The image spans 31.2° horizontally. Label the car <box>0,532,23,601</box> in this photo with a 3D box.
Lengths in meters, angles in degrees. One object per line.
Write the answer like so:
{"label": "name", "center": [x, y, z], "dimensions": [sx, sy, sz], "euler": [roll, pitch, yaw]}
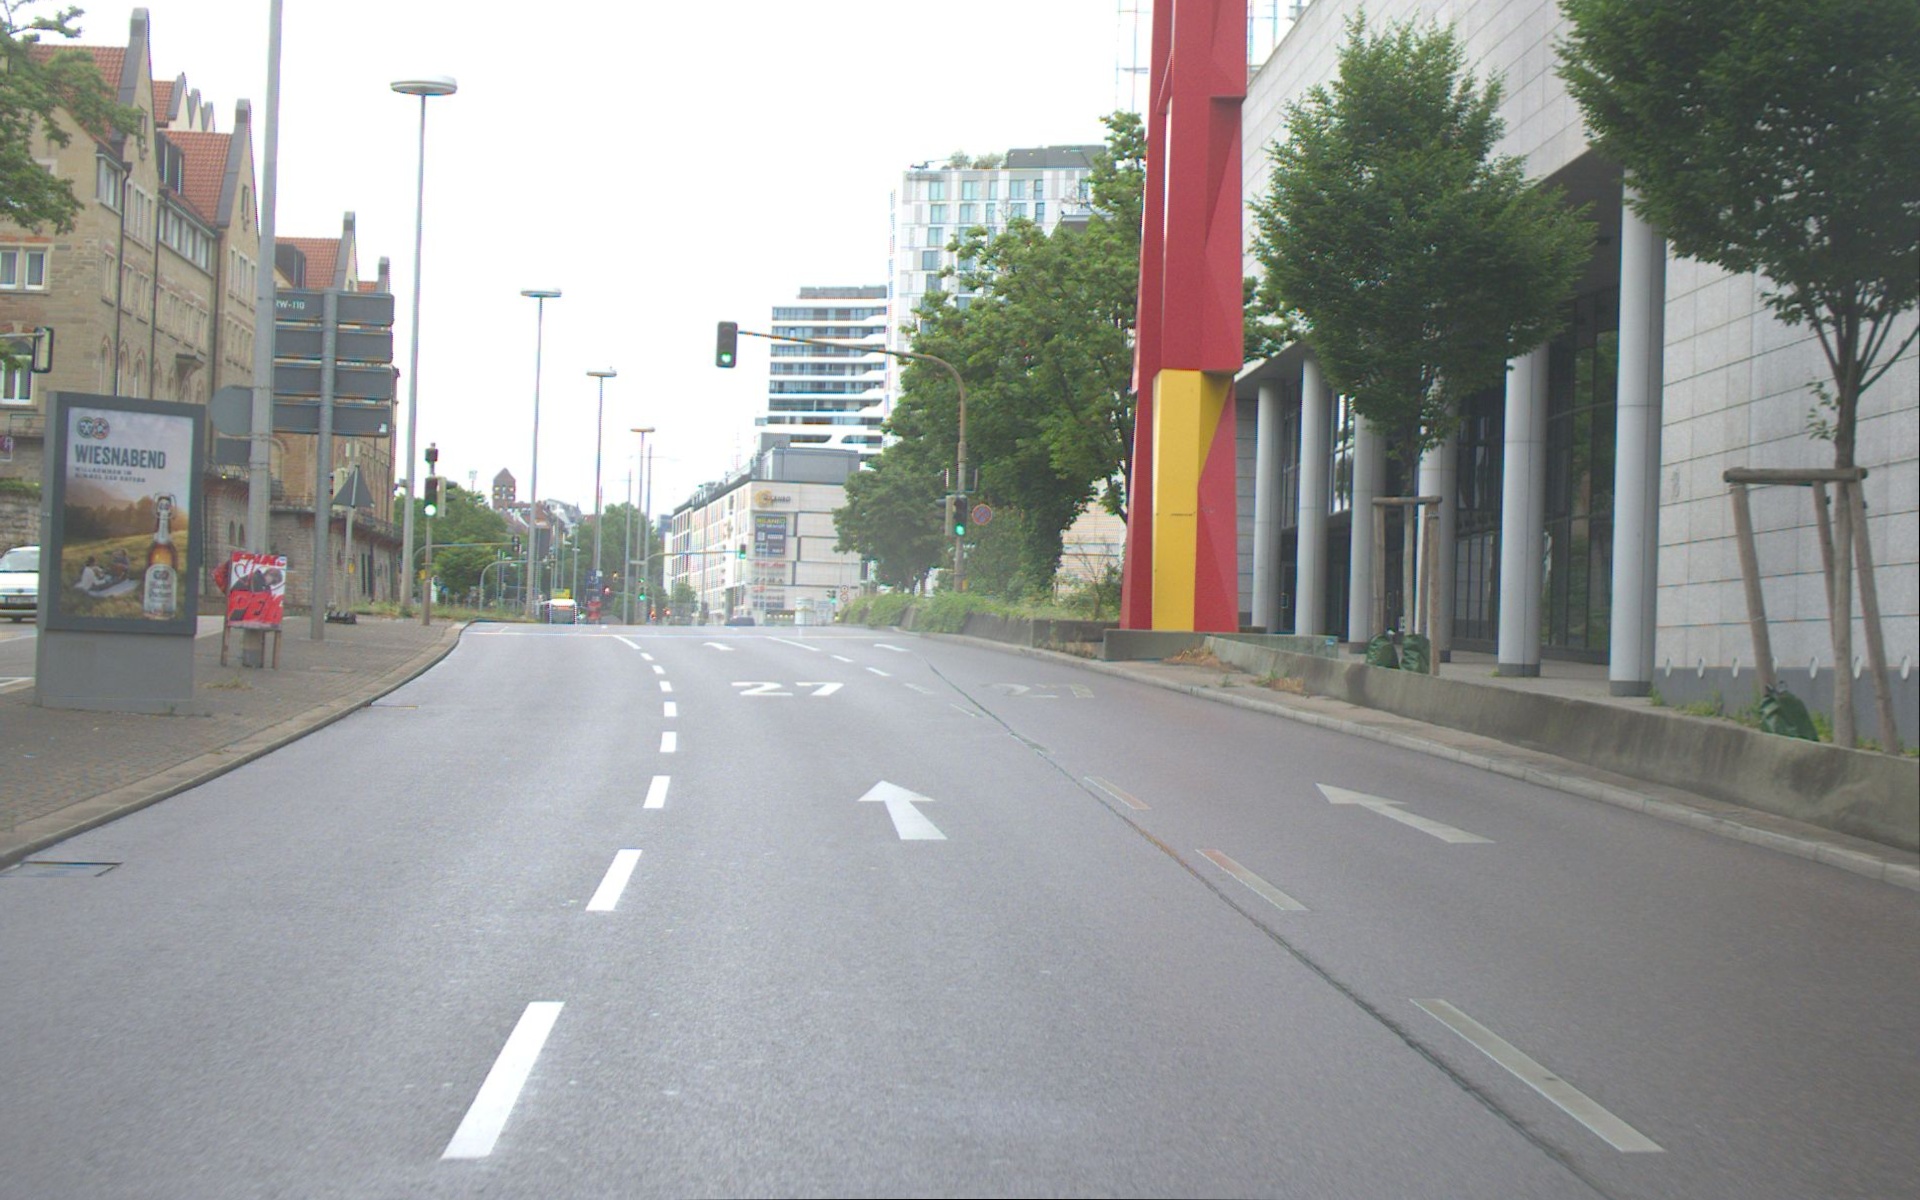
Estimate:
{"label": "car", "center": [-21.894, -0.753, 75.730], "dimensions": [1.753, 1.514, 4.171], "euler": [1, 1, -6]}
